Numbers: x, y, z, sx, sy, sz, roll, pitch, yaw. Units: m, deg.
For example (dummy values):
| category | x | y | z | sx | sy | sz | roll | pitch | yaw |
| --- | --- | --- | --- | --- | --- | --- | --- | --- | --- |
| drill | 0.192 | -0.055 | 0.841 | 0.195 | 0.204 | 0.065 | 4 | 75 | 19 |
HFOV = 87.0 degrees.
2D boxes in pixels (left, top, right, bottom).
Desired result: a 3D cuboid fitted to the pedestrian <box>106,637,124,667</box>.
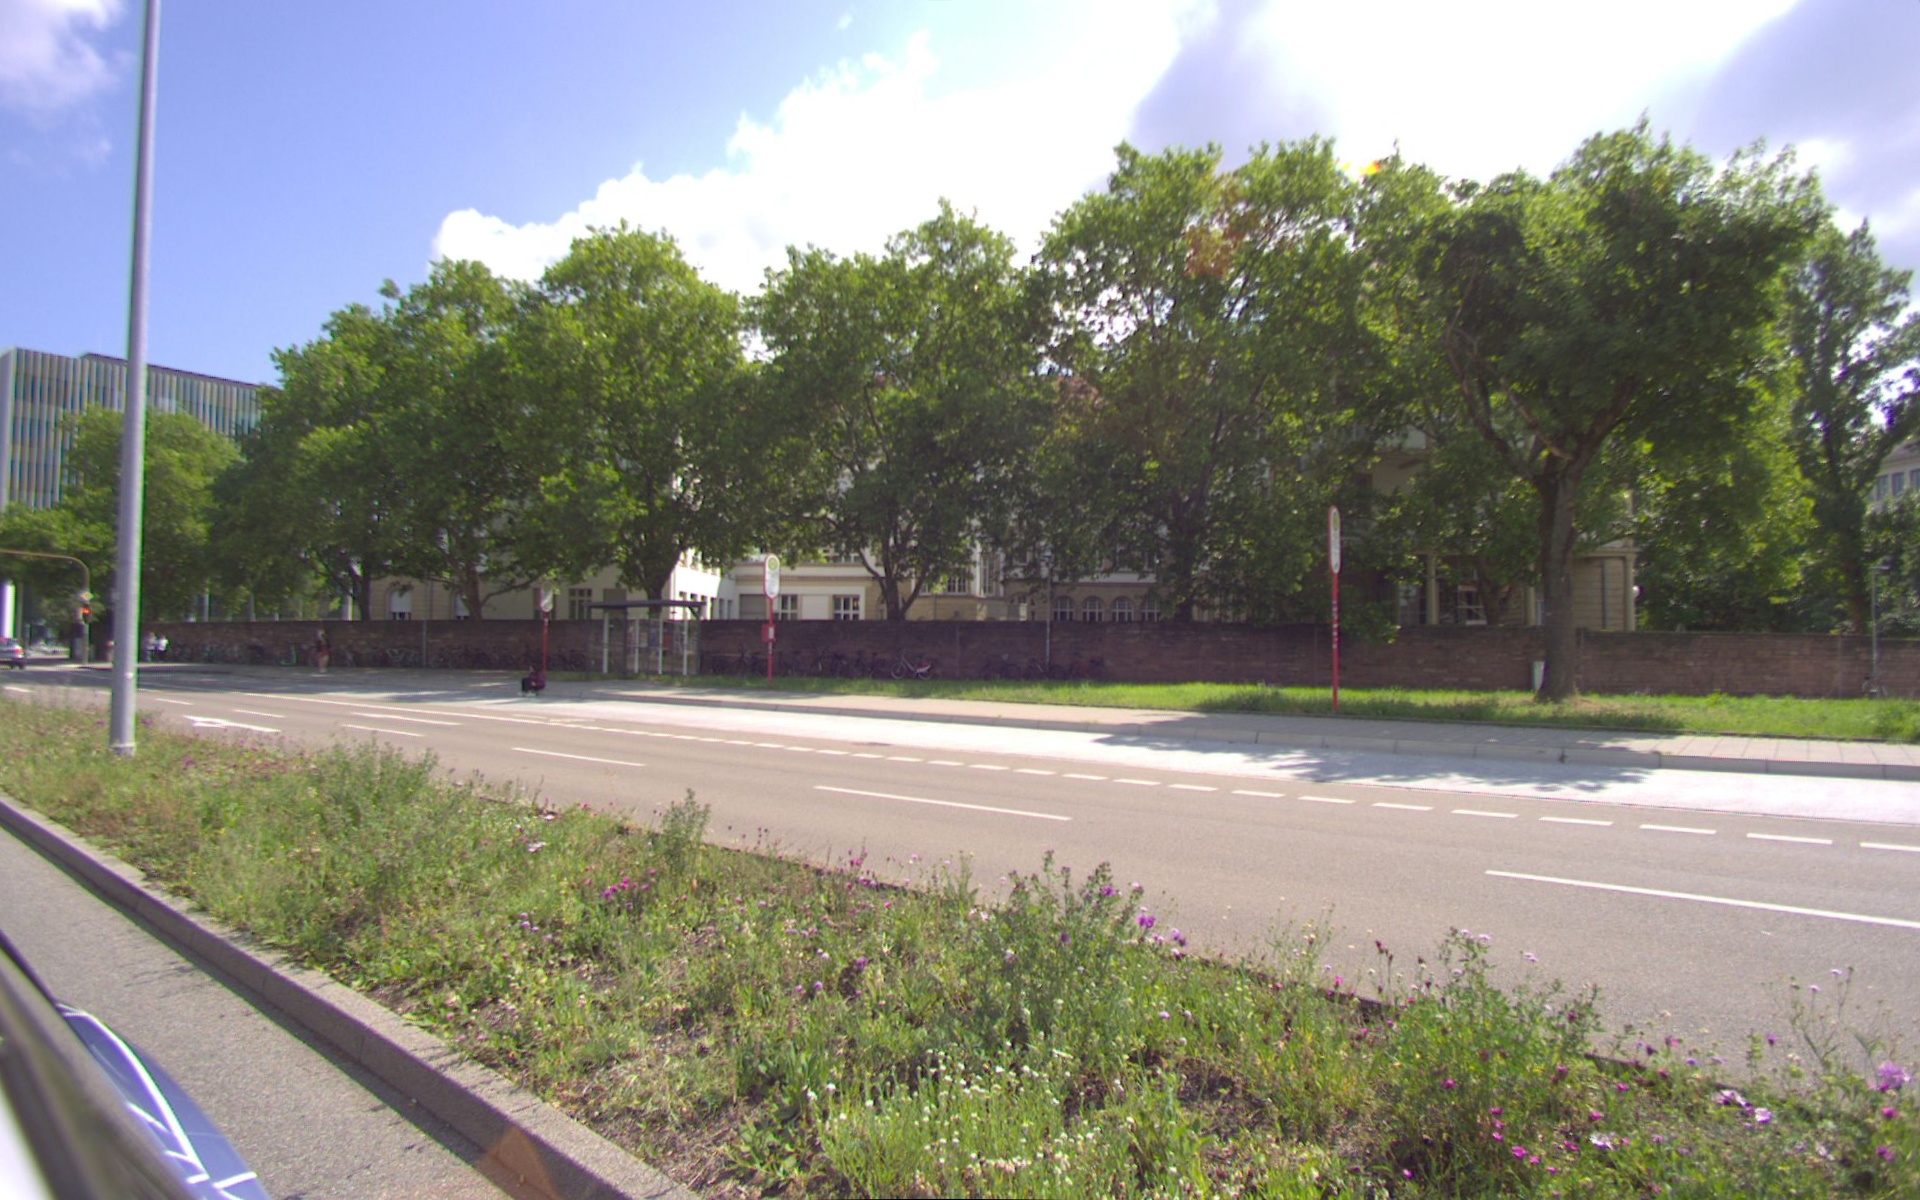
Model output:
| category | x | y | z | sx | sy | sz | roll | pitch | yaw |
| --- | --- | --- | --- | --- | --- | --- | --- | --- | --- |
| pedestrian | -47.981 | 2.943 | 57.466 | 0.725 | 1.664 | 0.556 | -2 | -4 | 33 |

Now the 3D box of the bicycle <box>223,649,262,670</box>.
| category | x | y | z | sx | sy | sz | roll | pitch | yaw |
| --- | --- | --- | --- | --- | --- | --- | --- | --- | --- |
| bicycle | -37.743 | 3.115 | 53.230 | 1.863 | 1.056 | 0.591 | 0 | -3 | 14 |

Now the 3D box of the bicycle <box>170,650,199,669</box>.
| category | x | y | z | sx | sy | sz | roll | pitch | yaw |
| --- | --- | --- | --- | --- | --- | --- | --- | --- | --- |
| bicycle | -43.213 | 3.316 | 56.363 | 1.873 | 1.056 | 0.560 | -1 | -3 | 29 |

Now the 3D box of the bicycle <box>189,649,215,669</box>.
| category | x | y | z | sx | sy | sz | roll | pitch | yaw |
| --- | --- | --- | --- | --- | --- | --- | --- | --- | --- |
| bicycle | -41.375 | 3.206 | 55.231 | 1.873 | 1.056 | 0.367 | -1 | -3 | 29 |

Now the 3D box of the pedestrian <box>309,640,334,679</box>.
| category | x | y | z | sx | sy | sz | roll | pitch | yaw |
| --- | --- | --- | --- | --- | --- | --- | --- | --- | --- |
| pedestrian | -26.867 | 2.483 | 42.582 | 0.744 | 1.622 | 0.649 | -2 | -3 | 39 |

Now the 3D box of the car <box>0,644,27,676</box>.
| category | x | y | z | sx | sy | sz | roll | pitch | yaw |
| --- | --- | --- | --- | --- | --- | --- | --- | --- | --- |
| car | -45.509 | 2.791 | 47.633 | 4.140 | 1.456 | 1.684 | -2 | -5 | 38 |

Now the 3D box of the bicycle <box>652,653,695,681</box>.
| category | x | y | z | sx | sy | sz | roll | pitch | yaw |
| --- | --- | --- | --- | --- | --- | --- | --- | --- | --- |
| bicycle | -11.605 | 2.706 | 41.063 | 1.617 | 1.081 | 0.581 | -1 | -3 | 17 |

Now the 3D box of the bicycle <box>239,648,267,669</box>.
| category | x | y | z | sx | sy | sz | roll | pitch | yaw |
| --- | --- | --- | --- | --- | --- | --- | --- | --- | --- |
| bicycle | -36.300 | 3.008 | 51.936 | 1.873 | 1.056 | 0.370 | -1 | -3 | 29 |

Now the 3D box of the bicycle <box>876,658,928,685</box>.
| category | x | y | z | sx | sy | sz | roll | pitch | yaw |
| --- | --- | --- | --- | --- | --- | --- | --- | --- | --- |
| bicycle | -2.194 | 2.698 | 38.320 | 1.948 | 1.019 | 0.469 | -1 | -3 | 18 |

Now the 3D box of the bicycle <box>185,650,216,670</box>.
| category | x | y | z | sx | sy | sz | roll | pitch | yaw |
| --- | --- | --- | --- | --- | --- | --- | --- | --- | --- |
| bicycle | -40.580 | 3.200 | 54.053 | 1.873 | 1.056 | 0.588 | -1 | -3 | 29 |

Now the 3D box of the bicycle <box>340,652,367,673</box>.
| category | x | y | z | sx | sy | sz | roll | pitch | yaw |
| --- | --- | --- | --- | --- | --- | --- | --- | --- | --- |
| bicycle | -29.091 | 2.991 | 48.537 | 1.393 | 0.962 | 0.364 | -1 | -3 | 23 |

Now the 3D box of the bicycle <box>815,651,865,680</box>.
| category | x | y | z | sx | sy | sz | roll | pitch | yaw |
| --- | --- | --- | --- | --- | --- | --- | --- | --- | --- |
| bicycle | -4.623 | 2.507 | 39.038 | 1.857 | 1.081 | 0.580 | -1 | -3 | 22 |

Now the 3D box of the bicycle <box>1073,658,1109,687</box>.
| category | x | y | z | sx | sy | sz | roll | pitch | yaw |
| --- | --- | --- | --- | --- | --- | --- | --- | --- | --- |
| bicycle | 4.753 | 2.635 | 36.787 | 1.244 | 1.019 | 0.351 | -1 | -3 | 18 |

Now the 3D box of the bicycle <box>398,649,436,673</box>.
| category | x | y | z | sx | sy | sz | roll | pitch | yaw |
| --- | --- | --- | --- | --- | --- | --- | --- | --- | --- |
| bicycle | -24.876 | 2.769 | 46.377 | 1.744 | 1.081 | 0.579 | -1 | -3 | 23 |

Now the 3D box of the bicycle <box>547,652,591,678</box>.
| category | x | y | z | sx | sy | sz | roll | pitch | yaw |
| --- | --- | --- | --- | --- | --- | --- | --- | --- | --- |
| bicycle | -16.553 | 2.731 | 42.802 | 1.741 | 1.081 | 0.581 | -1 | -3 | 17 |

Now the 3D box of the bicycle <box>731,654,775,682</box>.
| category | x | y | z | sx | sy | sz | roll | pitch | yaw |
| --- | --- | --- | --- | --- | --- | --- | --- | --- | --- |
| bicycle | -8.185 | 2.662 | 39.980 | 1.617 | 1.081 | 0.581 | -1 | -3 | 17 |

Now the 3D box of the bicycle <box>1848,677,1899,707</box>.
| category | x | y | z | sx | sy | sz | roll | pitch | yaw |
| --- | --- | --- | --- | --- | --- | --- | --- | --- | --- |
| bicycle | 31.103 | 3.137 | 34.458 | 1.498 | 0.999 | 0.395 | 1 | -3 | -9 |

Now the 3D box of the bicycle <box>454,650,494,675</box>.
| category | x | y | z | sx | sy | sz | roll | pitch | yaw |
| --- | --- | --- | --- | --- | --- | --- | --- | --- | --- |
| bicycle | -21.578 | 2.772 | 44.920 | 1.743 | 1.081 | 0.580 | -1 | -3 | 22 |

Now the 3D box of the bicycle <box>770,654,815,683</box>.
| category | x | y | z | sx | sy | sz | roll | pitch | yaw |
| --- | --- | --- | --- | --- | --- | --- | --- | --- | --- |
| bicycle | -6.534 | 2.671 | 39.496 | 1.617 | 1.081 | 0.581 | -1 | -3 | 17 |

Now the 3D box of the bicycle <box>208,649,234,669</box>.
| category | x | y | z | sx | sy | sz | roll | pitch | yaw |
| --- | --- | --- | --- | --- | --- | --- | --- | --- | --- |
| bicycle | -39.595 | 3.170 | 54.211 | 1.873 | 1.056 | 0.367 | -1 | -3 | 29 |

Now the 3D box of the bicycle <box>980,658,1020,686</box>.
| category | x | y | z | sx | sy | sz | roll | pitch | yaw |
| --- | --- | --- | --- | --- | --- | --- | --- | --- | --- |
| bicycle | 1.479 | 2.669 | 37.463 | 1.444 | 1.019 | 0.469 | -1 | -3 | 18 |

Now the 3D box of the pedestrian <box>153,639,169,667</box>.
| category | x | y | z | sx | sy | sz | roll | pitch | yaw |
| --- | --- | --- | --- | --- | --- | --- | --- | --- | --- |
| pedestrian | -44.513 | 2.956 | 56.388 | 0.614 | 1.552 | 0.472 | -2 | -4 | 33 |

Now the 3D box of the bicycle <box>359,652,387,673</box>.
| category | x | y | z | sx | sy | sz | roll | pitch | yaw |
| --- | --- | --- | --- | --- | --- | --- | --- | --- | --- |
| bicycle | -27.778 | 2.940 | 47.886 | 1.393 | 0.962 | 0.364 | -1 | -3 | 23 |

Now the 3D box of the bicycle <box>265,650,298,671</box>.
| category | x | y | z | sx | sy | sz | roll | pitch | yaw |
| --- | --- | --- | --- | --- | --- | --- | --- | --- | --- |
| bicycle | -34.430 | 3.080 | 51.372 | 1.873 | 1.056 | 0.576 | -1 | -3 | 29 |

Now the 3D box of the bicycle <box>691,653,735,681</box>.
| category | x | y | z | sx | sy | sz | roll | pitch | yaw |
| --- | --- | --- | --- | --- | --- | --- | --- | --- | --- |
| bicycle | -9.888 | 2.678 | 40.493 | 1.617 | 1.081 | 0.581 | -1 | -3 | 17 |

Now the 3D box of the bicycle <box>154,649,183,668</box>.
| category | x | y | z | sx | sy | sz | roll | pitch | yaw |
| --- | --- | --- | --- | --- | --- | --- | --- | --- | --- |
| bicycle | -44.928 | 3.311 | 57.429 | 1.873 | 1.056 | 0.625 | -1 | -3 | 29 |

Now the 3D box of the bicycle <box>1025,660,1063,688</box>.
| category | x | y | z | sx | sy | sz | roll | pitch | yaw |
| --- | --- | --- | --- | --- | --- | --- | --- | --- | --- |
| bicycle | 3.074 | 2.700 | 37.110 | 1.359 | 1.019 | 0.390 | -1 | -3 | 18 |

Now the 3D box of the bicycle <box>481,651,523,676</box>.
| category | x | y | z | sx | sy | sz | roll | pitch | yaw |
| --- | --- | --- | --- | --- | --- | --- | --- | --- | --- |
| bicycle | -19.958 | 2.773 | 44.094 | 1.741 | 1.081 | 0.581 | -1 | -3 | 17 |

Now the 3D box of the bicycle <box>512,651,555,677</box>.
| category | x | y | z | sx | sy | sz | roll | pitch | yaw |
| --- | --- | --- | --- | --- | --- | --- | --- | --- | --- |
| bicycle | -18.307 | 2.744 | 43.413 | 1.741 | 1.081 | 0.581 | -1 | -3 | 17 |

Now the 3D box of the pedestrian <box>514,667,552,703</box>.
| category | x | y | z | sx | sy | sz | roll | pitch | yaw |
| --- | --- | --- | --- | --- | --- | --- | --- | --- | --- |
| pedestrian | -12.002 | 2.373 | 28.457 | 0.742 | 0.970 | 0.688 | -2 | -3 | 37 |

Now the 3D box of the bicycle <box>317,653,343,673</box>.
| category | x | y | z | sx | sy | sz | roll | pitch | yaw |
| --- | --- | --- | --- | --- | --- | --- | --- | --- | --- |
| bicycle | -30.850 | 3.064 | 49.548 | 1.393 | 0.962 | 0.364 | -1 | -3 | 23 |

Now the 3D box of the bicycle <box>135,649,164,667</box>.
| category | x | y | z | sx | sy | sz | roll | pitch | yaw |
| --- | --- | --- | --- | --- | --- | --- | --- | --- | --- |
| bicycle | -46.863 | 3.341 | 58.497 | 1.873 | 1.056 | 0.625 | -1 | -3 | 29 |

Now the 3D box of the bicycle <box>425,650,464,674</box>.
| category | x | y | z | sx | sy | sz | roll | pitch | yaw |
| --- | --- | --- | --- | --- | --- | --- | --- | --- | --- |
| bicycle | -23.227 | 2.785 | 45.602 | 1.744 | 1.081 | 0.579 | -1 | -3 | 23 |

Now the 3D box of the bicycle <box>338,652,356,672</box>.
| category | x | y | z | sx | sy | sz | roll | pitch | yaw |
| --- | --- | --- | --- | --- | --- | --- | --- | --- | --- |
| bicycle | -28.898 | 2.915 | 47.709 | 0.362 | 0.962 | 1.626 | 3 | -4 | -42 |

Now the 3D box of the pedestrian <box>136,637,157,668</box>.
| category | x | y | z | sx | sy | sz | roll | pitch | yaw |
| --- | --- | --- | --- | --- | --- | --- | --- | --- | --- |
| pedestrian | -44.533 | 2.860 | 55.390 | 0.729 | 1.664 | 0.636 | -2 | -4 | 33 |

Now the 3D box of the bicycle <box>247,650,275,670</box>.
| category | x | y | z | sx | sy | sz | roll | pitch | yaw |
| --- | --- | --- | --- | --- | --- | --- | --- | --- | --- |
| bicycle | -36.130 | 3.091 | 52.283 | 1.873 | 1.056 | 0.391 | -1 | -3 | 29 |

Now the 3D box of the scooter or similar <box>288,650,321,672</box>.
| category | x | y | z | sx | sy | sz | roll | pitch | yaw |
| --- | --- | --- | --- | --- | --- | --- | --- | --- | --- |
| scooter or similar | -32.702 | 3.053 | 50.500 | 1.873 | 1.056 | 0.576 | -1 | -3 | 29 |

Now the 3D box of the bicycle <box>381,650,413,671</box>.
| category | x | y | z | sx | sy | sz | roll | pitch | yaw |
| --- | --- | --- | --- | --- | --- | --- | --- | --- | --- |
| bicycle | -26.176 | 2.825 | 47.066 | 1.616 | 0.962 | 0.368 | -1 | -3 | 23 |
